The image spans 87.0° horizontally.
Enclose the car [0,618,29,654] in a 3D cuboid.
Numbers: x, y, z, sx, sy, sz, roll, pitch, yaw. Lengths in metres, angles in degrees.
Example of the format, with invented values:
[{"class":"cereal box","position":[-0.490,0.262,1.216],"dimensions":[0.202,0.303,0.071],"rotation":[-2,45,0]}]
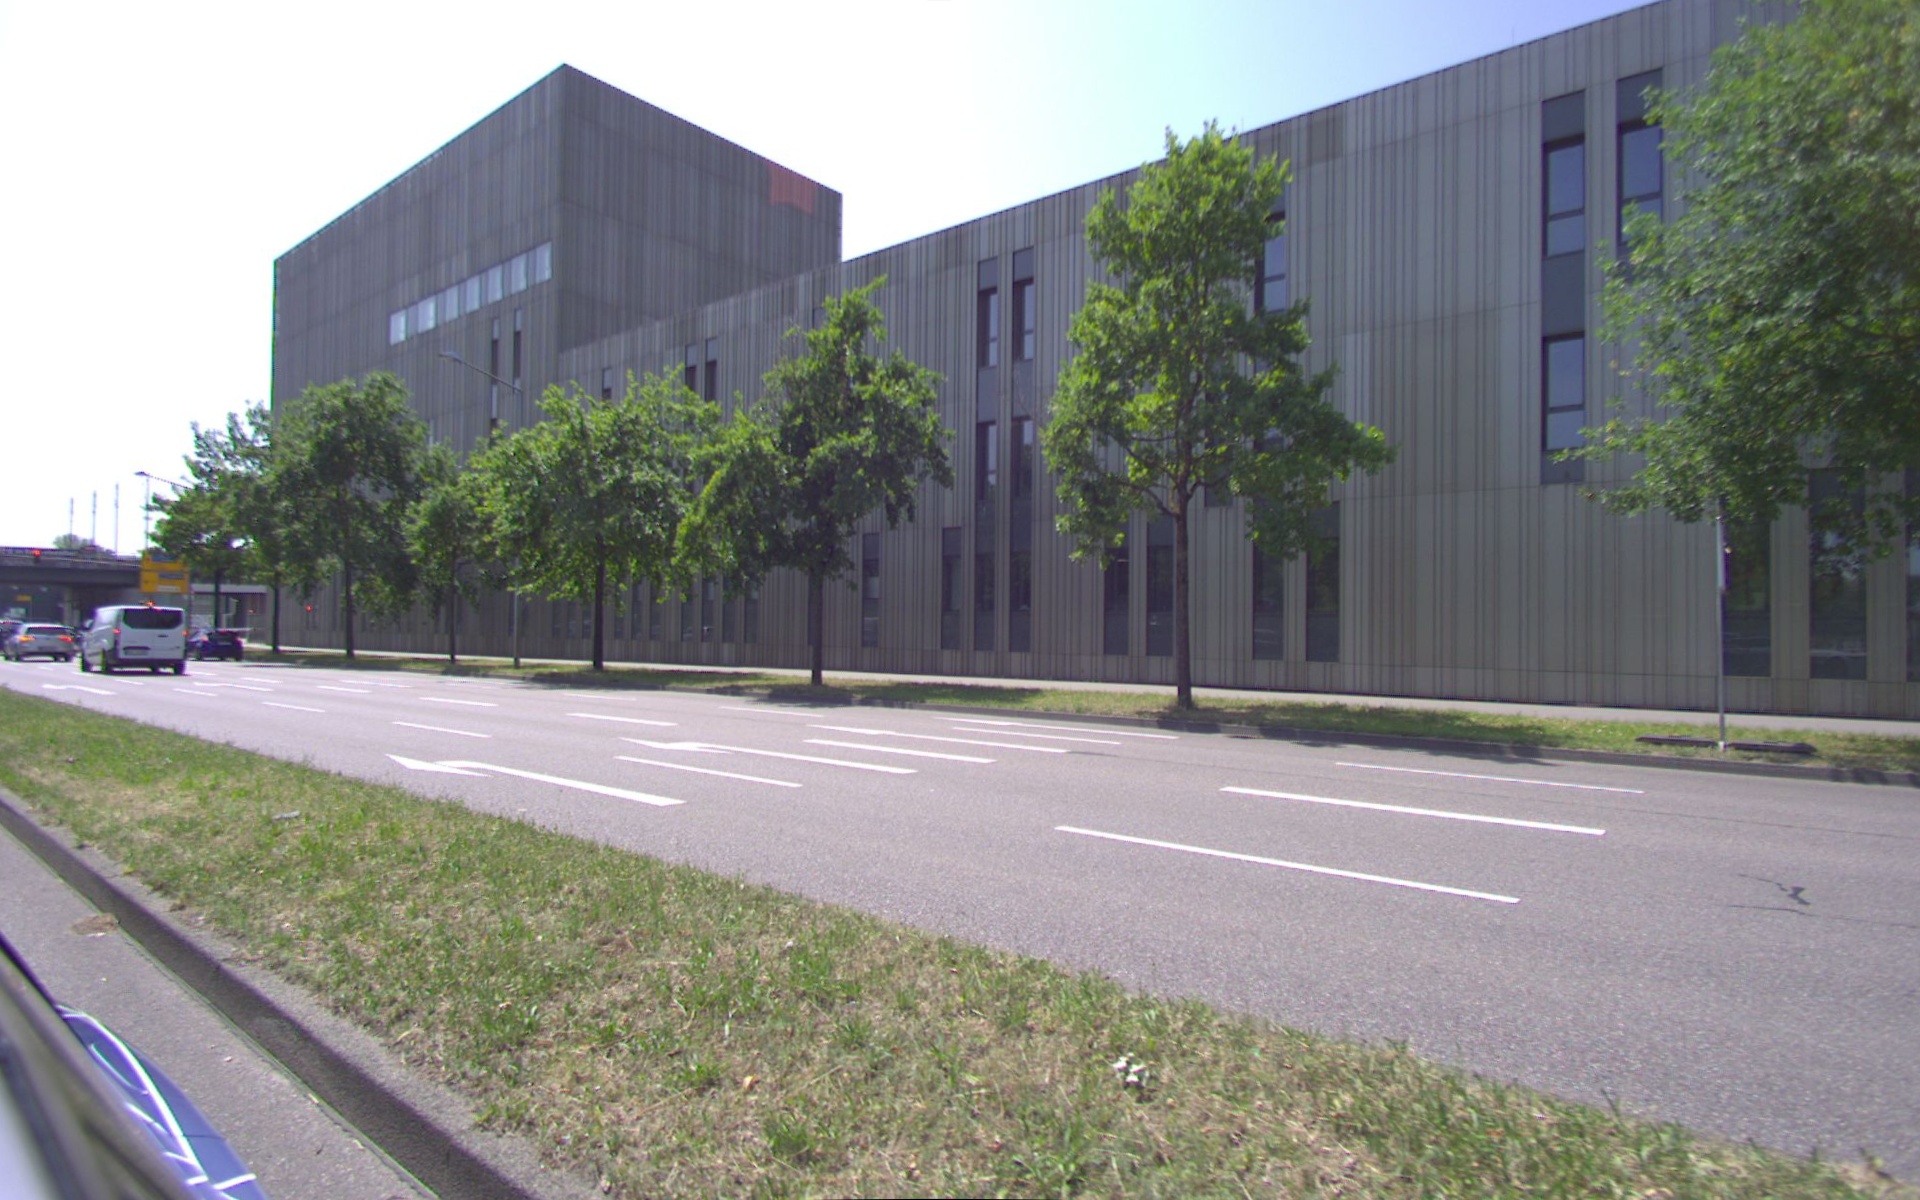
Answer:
[{"class":"car","position":[-45.886,1.699,48.225],"dimensions":[4.572,1.676,1.783],"rotation":[-1,-3,42]}]

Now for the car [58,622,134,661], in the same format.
[{"class":"car","position":[-40.885,1.929,47.853],"dimensions":[4.640,1.760,1.793],"rotation":[-1,-3,38]}]

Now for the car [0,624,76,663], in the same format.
[{"class":"car","position":[-37.025,1.717,40.547],"dimensions":[4.142,1.471,1.748],"rotation":[-1,-3,40]}]

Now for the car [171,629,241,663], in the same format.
[{"class":"car","position":[-34.062,2.030,45.693],"dimensions":[4.013,1.467,1.604],"rotation":[-1,-2,40]}]

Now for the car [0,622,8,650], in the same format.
[{"class":"car","position":[-51.173,1.839,52.614],"dimensions":[4.245,1.457,1.793],"rotation":[-1,-3,38]}]

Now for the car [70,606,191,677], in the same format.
[{"class":"car","position":[-25.406,1.247,30.941],"dimensions":[4.893,2.008,1.890],"rotation":[-1,-3,40]}]

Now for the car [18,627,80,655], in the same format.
[{"class":"car","position":[-49.984,2.215,55.496],"dimensions":[4.245,1.428,1.793],"rotation":[-1,-2,38]}]
